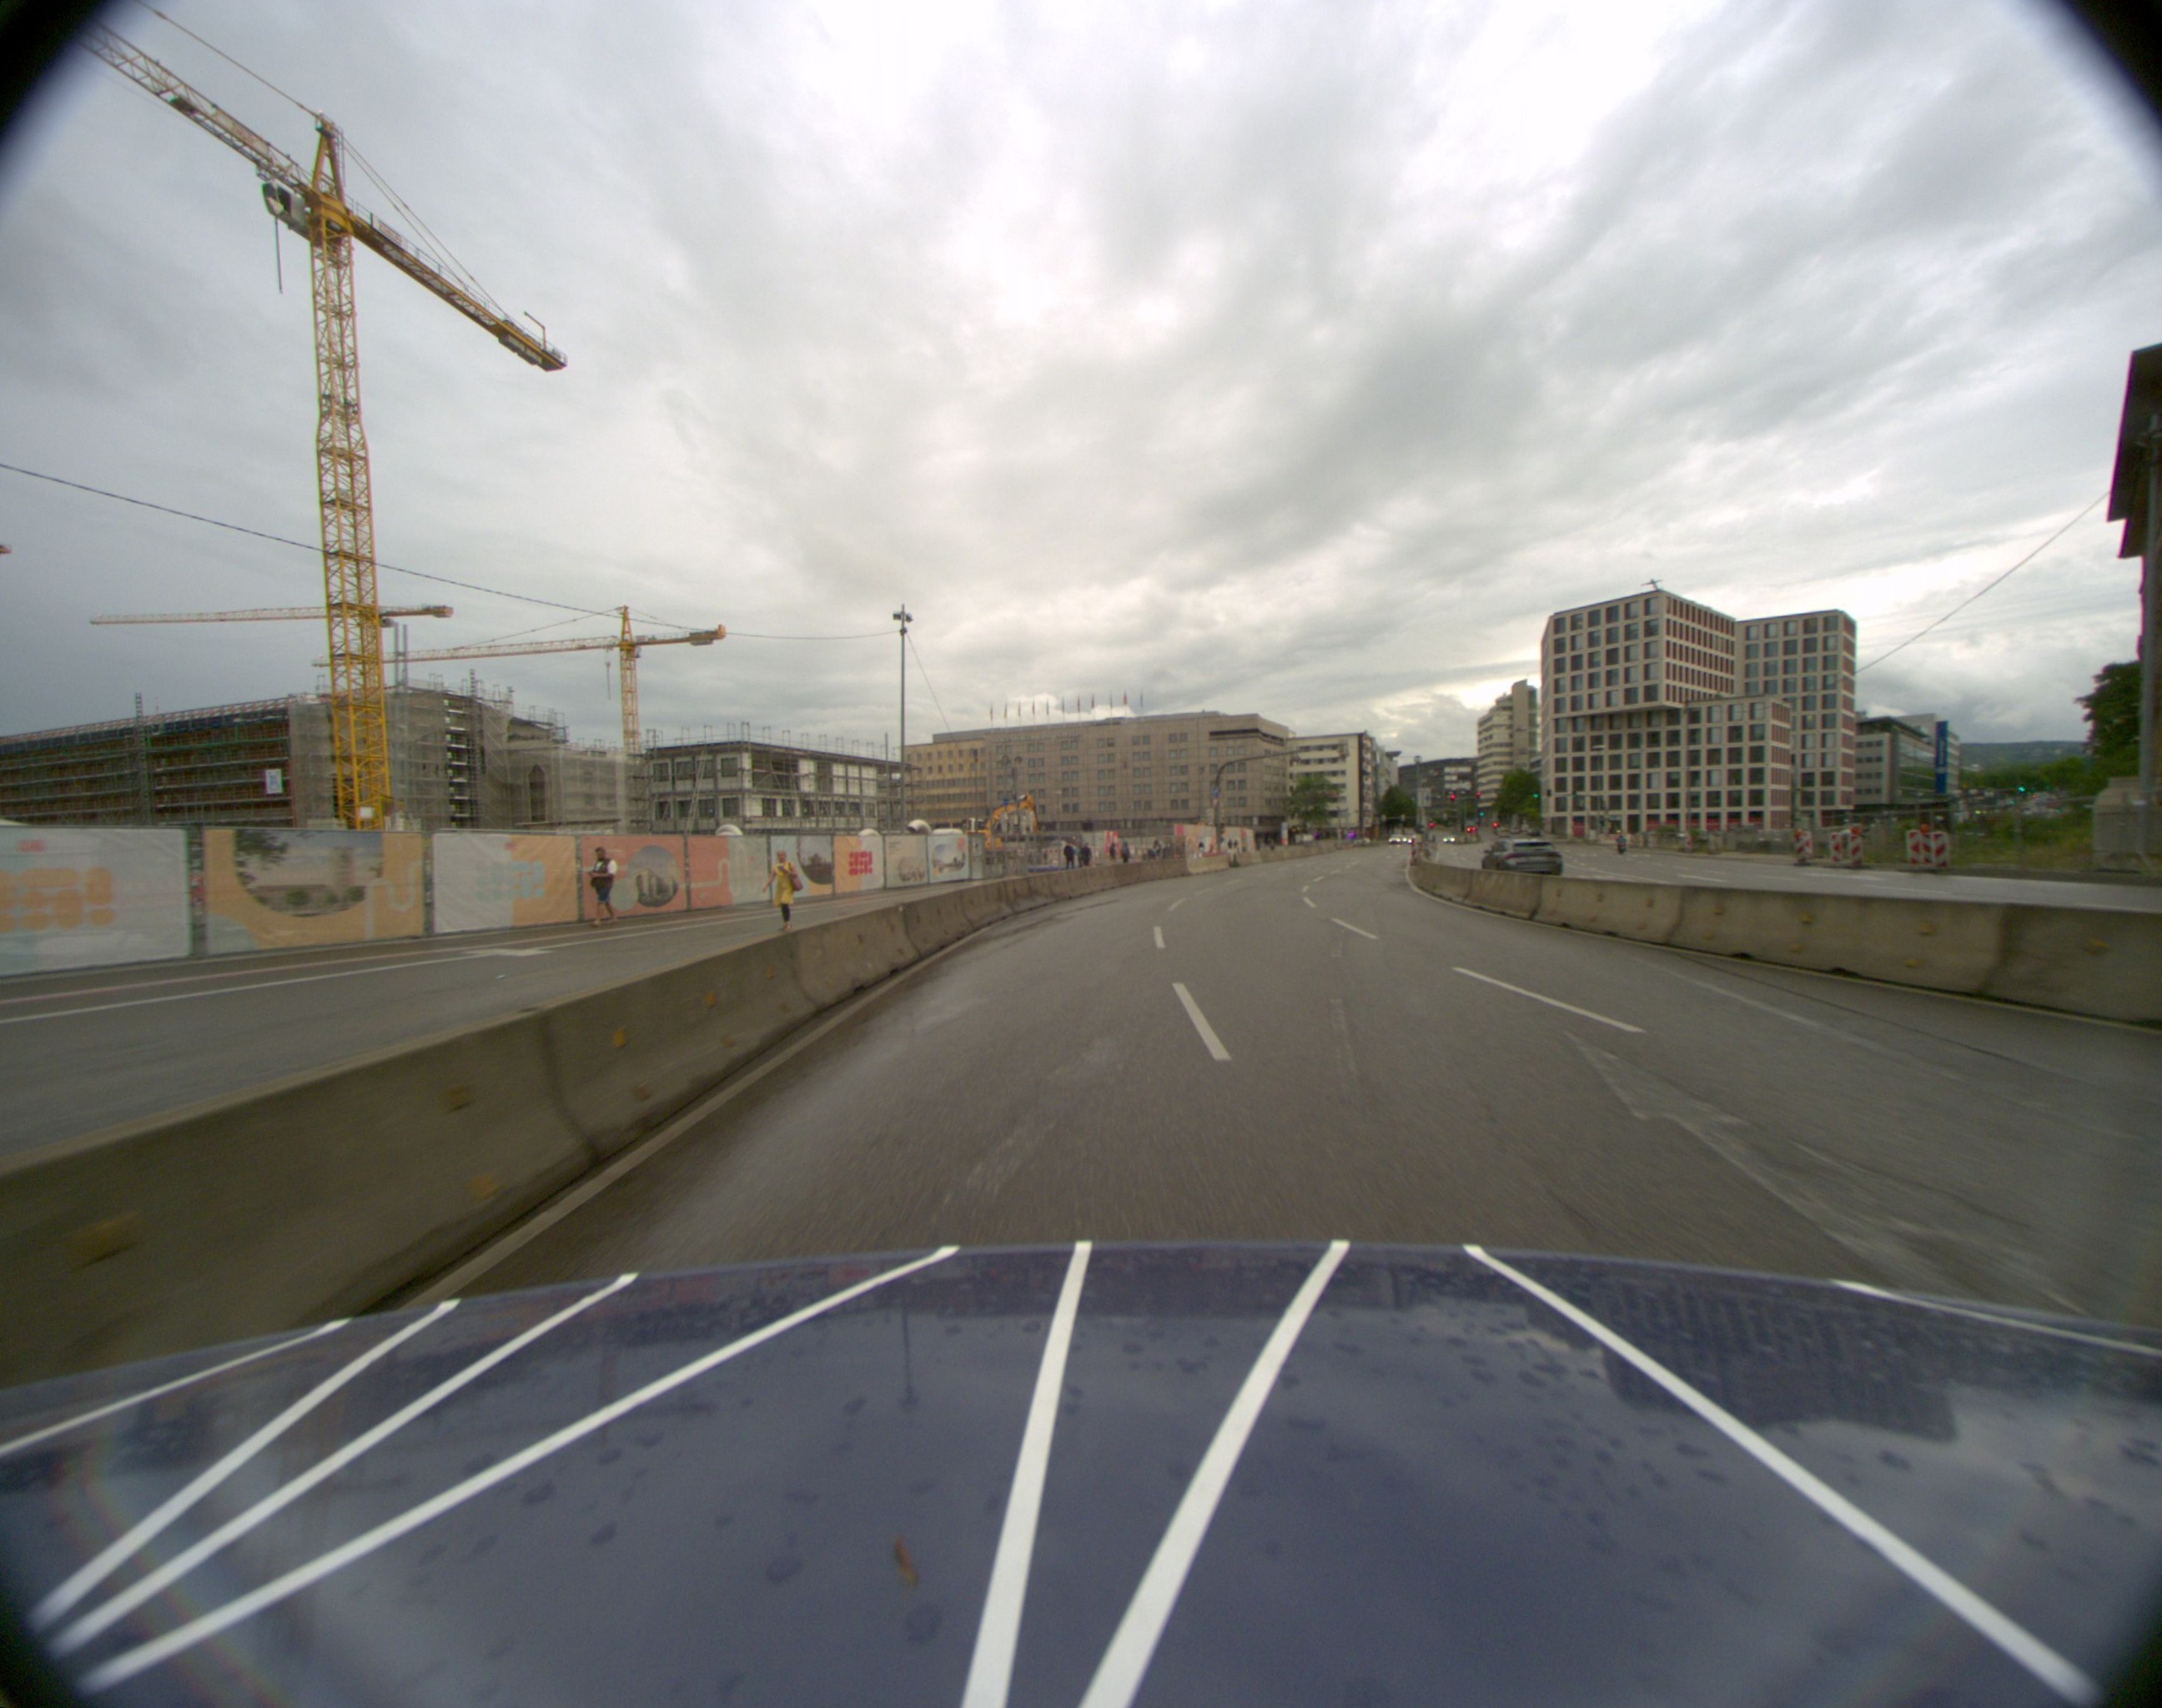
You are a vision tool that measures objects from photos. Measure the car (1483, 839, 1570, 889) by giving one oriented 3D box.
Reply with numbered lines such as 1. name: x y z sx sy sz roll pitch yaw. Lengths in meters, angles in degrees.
1. car: 14.965 0.268 25.758 1.768 1.512 4.392 -1 1 20

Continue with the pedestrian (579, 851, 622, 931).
1. pedestrian: -10.637 0.812 16.837 0.567 1.738 0.495 -1 2 18

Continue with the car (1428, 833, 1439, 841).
1. car: 68.195 -3.233 146.871 1.706 1.445 3.801 -1 1 22

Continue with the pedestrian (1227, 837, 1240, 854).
1. pedestrian: 15.340 -0.849 76.509 1.097 1.751 0.907 1 2 27

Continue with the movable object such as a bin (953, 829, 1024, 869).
1. movable object such as a bin: -6.120 -0.374 50.331 4.135 2.521 1.995 -2 2 -35

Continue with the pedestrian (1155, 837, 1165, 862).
1. pedestrian: 5.543 -0.293 53.338 0.648 1.751 0.584 1 2 11

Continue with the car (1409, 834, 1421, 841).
1. car: 65.515 -3.219 148.990 1.995 1.445 4.005 -1 1 22

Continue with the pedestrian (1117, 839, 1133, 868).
1. pedestrian: 2.520 -0.035 43.465 0.654 1.681 0.777 1 2 24

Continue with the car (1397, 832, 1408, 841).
1. car: 67.201 -3.616 158.690 1.995 1.838 4.005 -1 1 22

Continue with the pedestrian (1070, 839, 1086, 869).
1. pedestrian: -0.191 -0.007 42.638 0.746 1.696 0.687 1 2 14

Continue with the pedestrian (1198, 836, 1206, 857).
1. pedestrian: 10.019 -0.618 62.845 0.648 1.660 0.766 1 2 11

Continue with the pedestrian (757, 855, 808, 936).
1. pedestrian: -6.184 0.839 15.782 0.648 1.623 0.907 -1 2 0

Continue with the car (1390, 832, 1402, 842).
1. car: 62.721 -3.370 151.343 1.995 1.814 4.005 -1 1 22

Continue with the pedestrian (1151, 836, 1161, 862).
1. pedestrian: 4.949 -0.363 50.350 0.585 1.698 0.677 1 2 11

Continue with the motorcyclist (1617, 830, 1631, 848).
1. motorcyclist: 43.301 -1.192 60.565 0.703 1.478 0.964 -1 2 21

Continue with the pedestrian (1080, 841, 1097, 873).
1. pedestrian: 0.390 0.143 38.748 0.648 1.637 0.948 1 2 13

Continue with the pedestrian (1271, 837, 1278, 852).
1. pedestrian: 21.895 -1.086 85.898 0.653 1.751 0.549 1 2 11

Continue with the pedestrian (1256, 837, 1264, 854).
1. pedestrian: 18.727 -0.925 79.524 0.756 1.751 0.766 1 2 11

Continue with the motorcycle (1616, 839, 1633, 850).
1. motorcycle: 43.292 -0.772 60.531 0.703 0.887 1.825 -1 1 21

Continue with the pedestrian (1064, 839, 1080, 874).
1. pedestrian: -0.446 0.111 38.701 0.648 1.733 0.766 1 2 13

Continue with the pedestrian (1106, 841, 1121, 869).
1. pedestrian: 1.916 0.046 45.022 0.654 1.681 0.777 1 2 24

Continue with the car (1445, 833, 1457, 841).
1. car: 71.146 -3.311 146.116 1.789 1.445 3.677 -1 1 22
